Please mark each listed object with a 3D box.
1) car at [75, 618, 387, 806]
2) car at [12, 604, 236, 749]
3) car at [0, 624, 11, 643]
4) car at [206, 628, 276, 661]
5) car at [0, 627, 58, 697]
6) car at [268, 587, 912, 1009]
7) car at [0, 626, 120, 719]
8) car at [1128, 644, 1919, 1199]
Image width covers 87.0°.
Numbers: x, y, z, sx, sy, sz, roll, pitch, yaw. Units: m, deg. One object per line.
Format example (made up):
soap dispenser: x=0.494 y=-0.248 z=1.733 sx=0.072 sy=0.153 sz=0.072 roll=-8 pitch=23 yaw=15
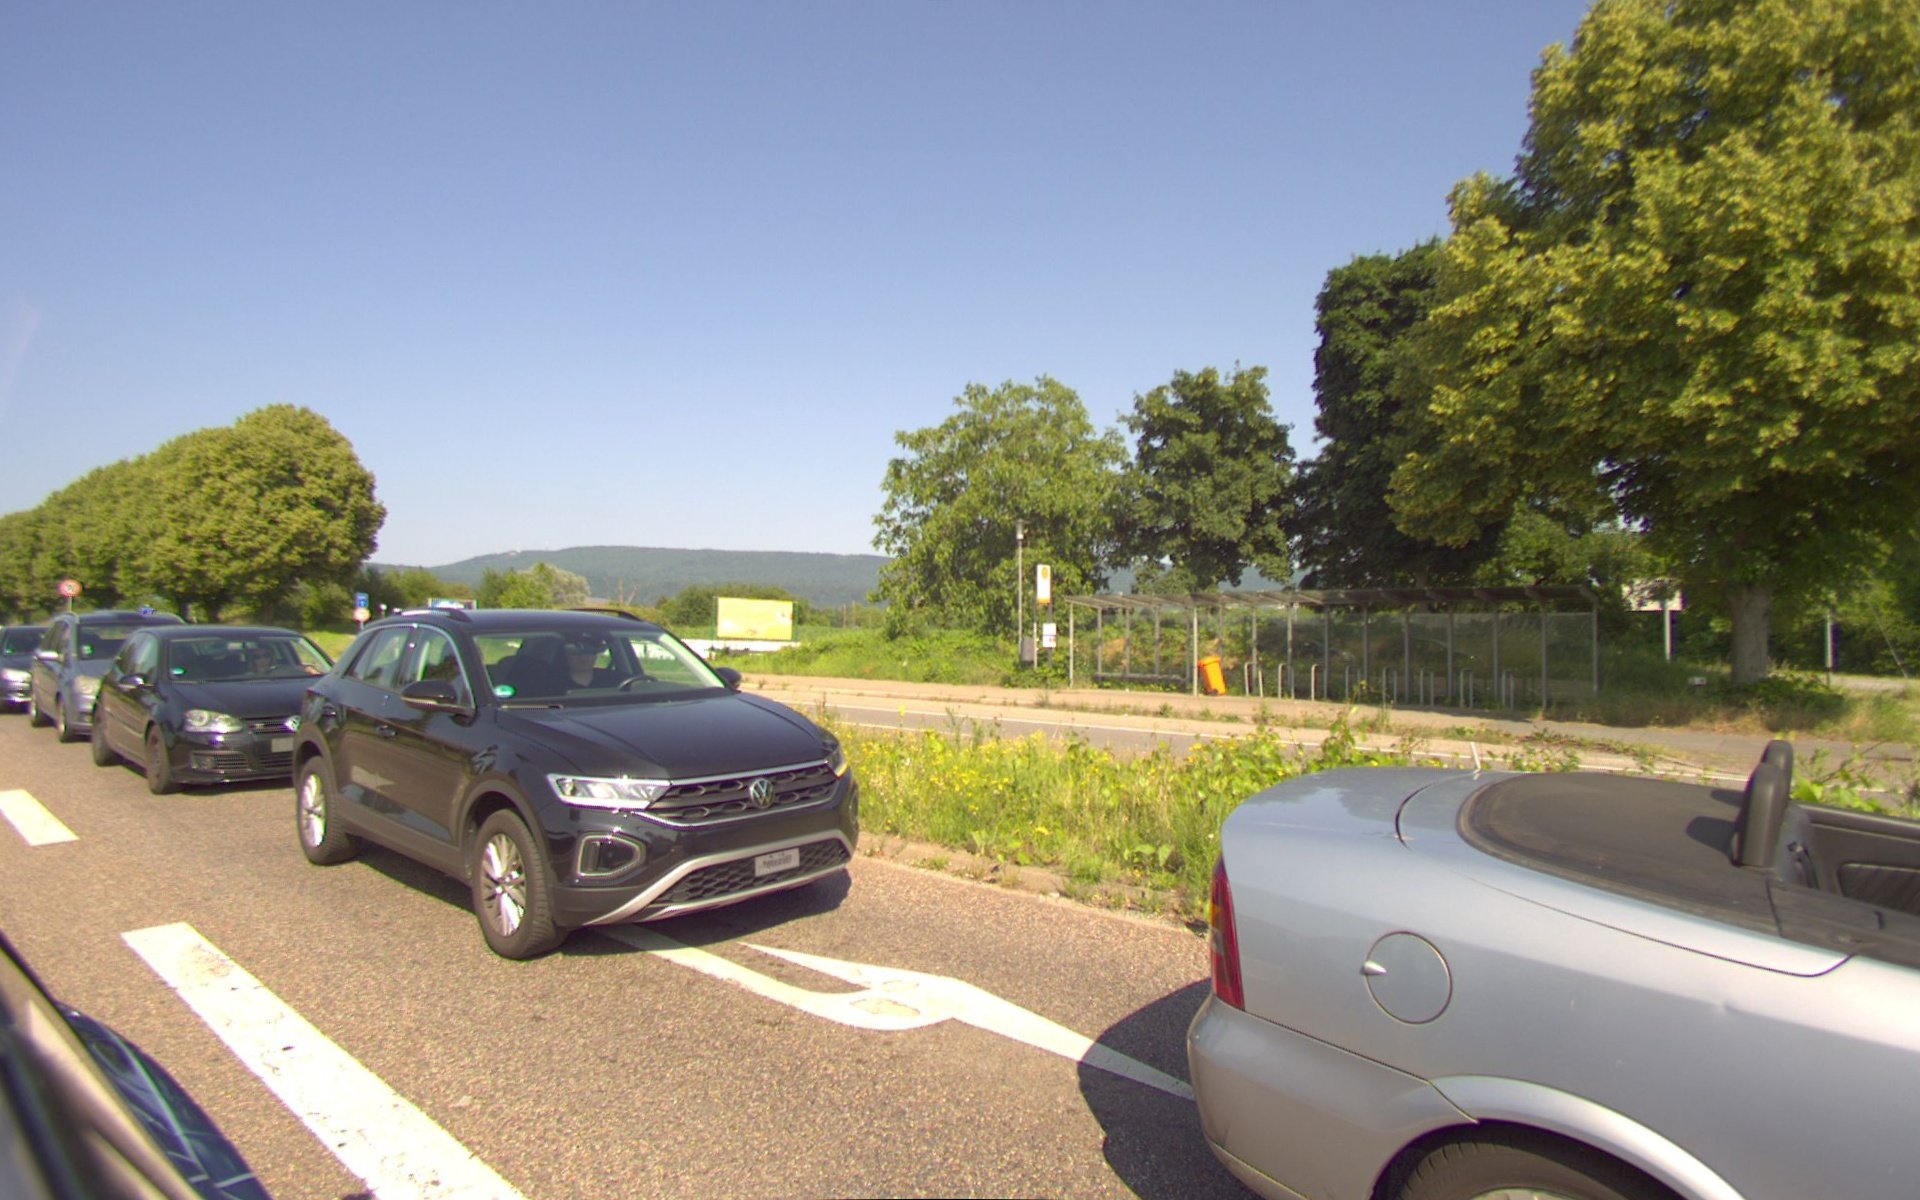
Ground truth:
car: x=-7.328 y=0.945 z=10.021 sx=4.096 sy=1.486 sz=1.648 roll=-2 pitch=-2 yaw=42
car: x=-11.561 y=0.946 z=13.892 sx=4.355 sy=1.685 sz=1.723 roll=-2 pitch=-2 yaw=42
car: x=-78.045 y=2.661 z=81.570 sx=4.147 sy=1.527 sz=1.862 roll=-1 pitch=-4 yaw=42
car: x=-33.627 y=2.078 z=47.297 sx=3.771 sy=1.453 sz=1.599 roll=-1 pitch=-5 yaw=38
car: x=-21.442 y=1.318 z=22.291 sx=4.639 sy=1.436 sz=1.784 roll=-1 pitch=-1 yaw=41
car: x=-2.331 y=0.788 z=5.768 sx=4.096 sy=1.559 sz=1.710 roll=-2 pitch=-2 yaw=42
car: x=-16.236 y=1.191 z=17.731 sx=4.353 sy=1.421 sz=1.696 roll=-2 pitch=-1 yaw=42
car: x=2.435 y=0.764 z=1.443 sx=4.096 sy=1.345 sz=1.656 roll=-1 pitch=-3 yaw=42
